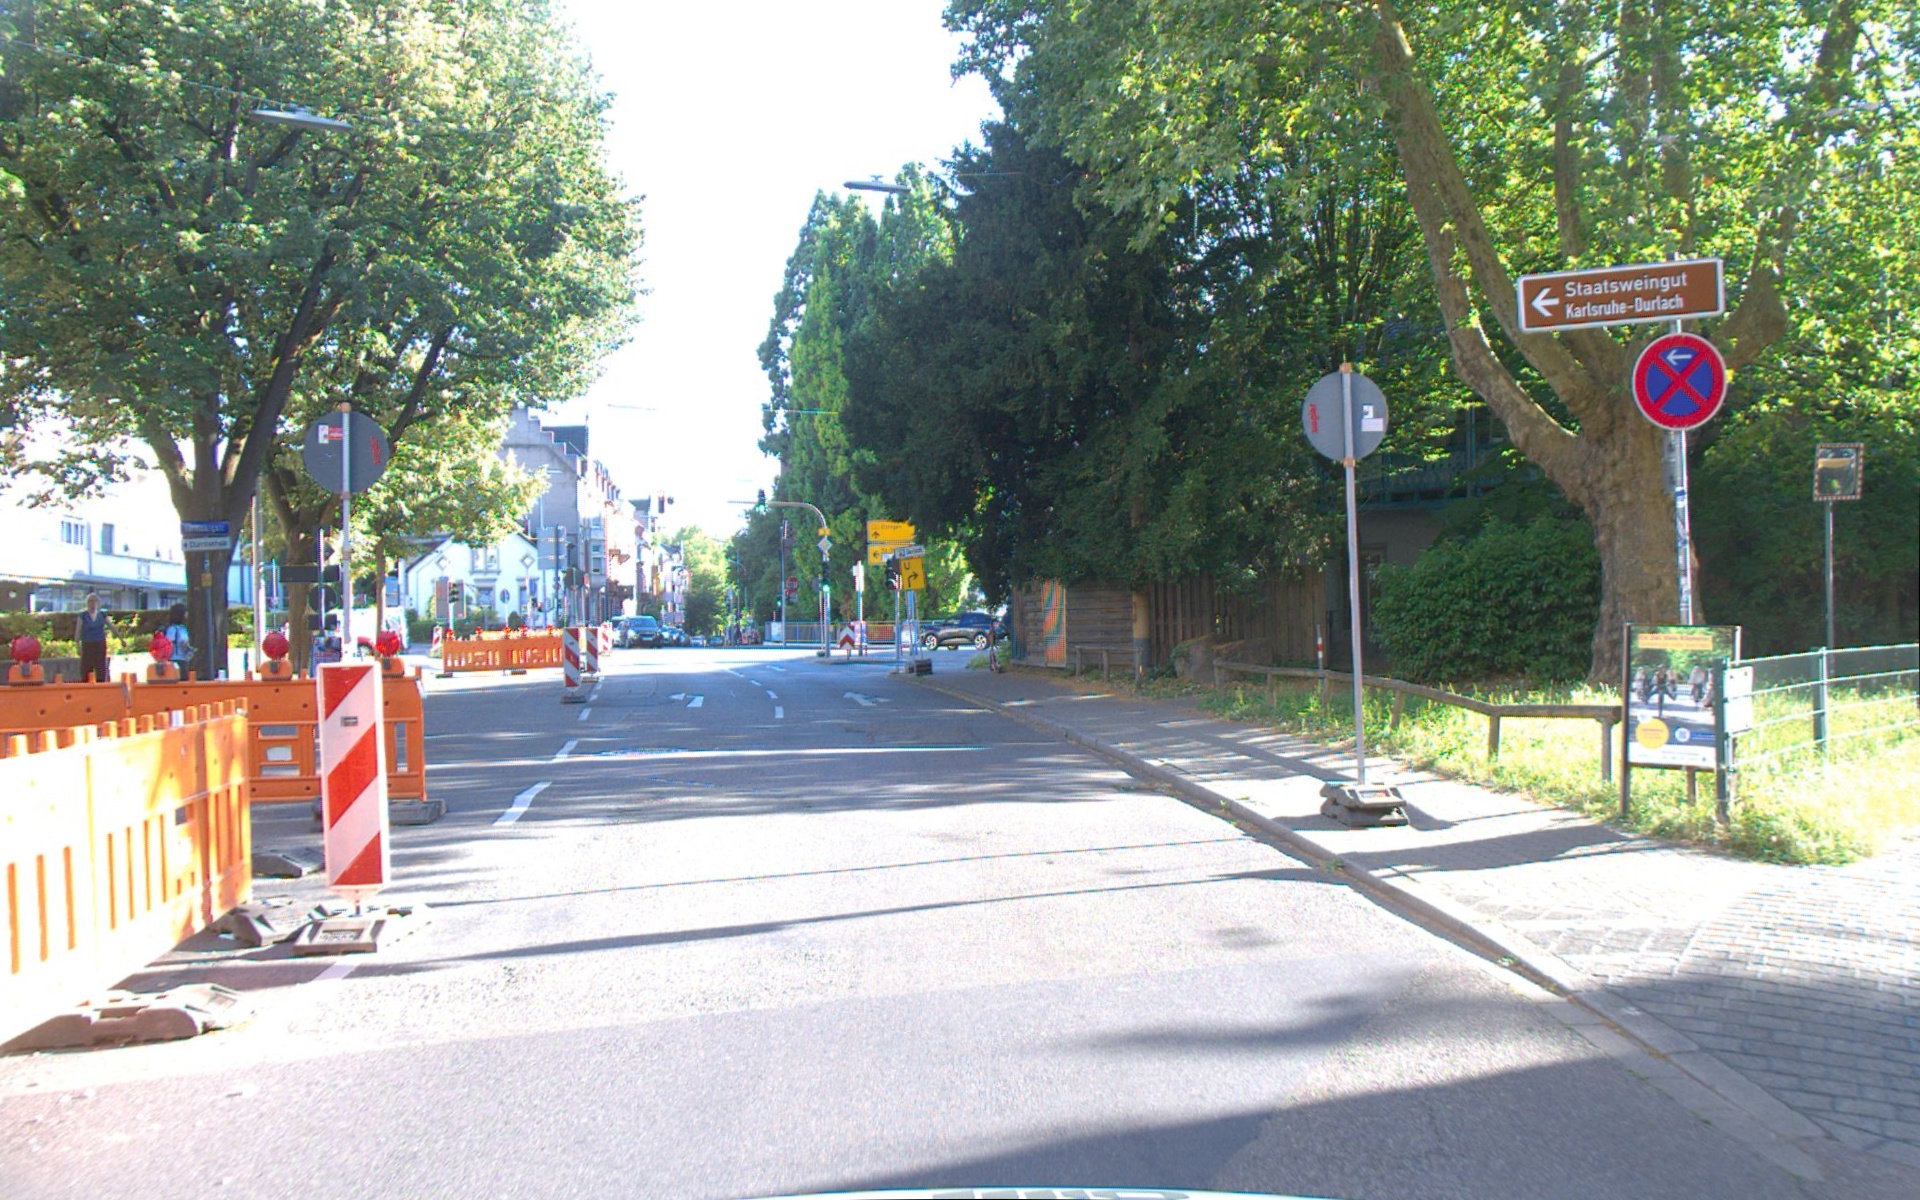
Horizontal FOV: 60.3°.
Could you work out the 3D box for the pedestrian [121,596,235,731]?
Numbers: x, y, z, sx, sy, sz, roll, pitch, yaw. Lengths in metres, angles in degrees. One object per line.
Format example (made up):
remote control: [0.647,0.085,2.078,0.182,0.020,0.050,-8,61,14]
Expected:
pedestrian: [-10.861,0.864,23.020,1.022,1.812,1.191,-1,-1,-3]

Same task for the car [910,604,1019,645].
car: [0.197,1.116,74.148,4.568,1.700,1.993,-1,-4,35]

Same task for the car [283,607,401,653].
car: [-25.735,1.226,69.027,4.232,1.884,1.996,0,-1,-8]

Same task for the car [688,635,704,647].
car: [-37.655,5.839,235.730,1.956,1.518,4.463,-2,0,-7]

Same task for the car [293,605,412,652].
car: [-26.321,1.233,71.850,4.586,1.999,2.111,0,-1,-13]

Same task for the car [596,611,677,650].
car: [-16.507,1.531,84.182,4.179,1.847,1.987,0,3,44]

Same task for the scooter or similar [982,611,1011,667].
scooter or similar: [0.823,0.884,37.619,0.430,1.223,1.256,-4,0,-7]

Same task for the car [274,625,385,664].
car: [-25.269,1.772,66.389,3.924,1.505,1.992,0,-1,-15]
